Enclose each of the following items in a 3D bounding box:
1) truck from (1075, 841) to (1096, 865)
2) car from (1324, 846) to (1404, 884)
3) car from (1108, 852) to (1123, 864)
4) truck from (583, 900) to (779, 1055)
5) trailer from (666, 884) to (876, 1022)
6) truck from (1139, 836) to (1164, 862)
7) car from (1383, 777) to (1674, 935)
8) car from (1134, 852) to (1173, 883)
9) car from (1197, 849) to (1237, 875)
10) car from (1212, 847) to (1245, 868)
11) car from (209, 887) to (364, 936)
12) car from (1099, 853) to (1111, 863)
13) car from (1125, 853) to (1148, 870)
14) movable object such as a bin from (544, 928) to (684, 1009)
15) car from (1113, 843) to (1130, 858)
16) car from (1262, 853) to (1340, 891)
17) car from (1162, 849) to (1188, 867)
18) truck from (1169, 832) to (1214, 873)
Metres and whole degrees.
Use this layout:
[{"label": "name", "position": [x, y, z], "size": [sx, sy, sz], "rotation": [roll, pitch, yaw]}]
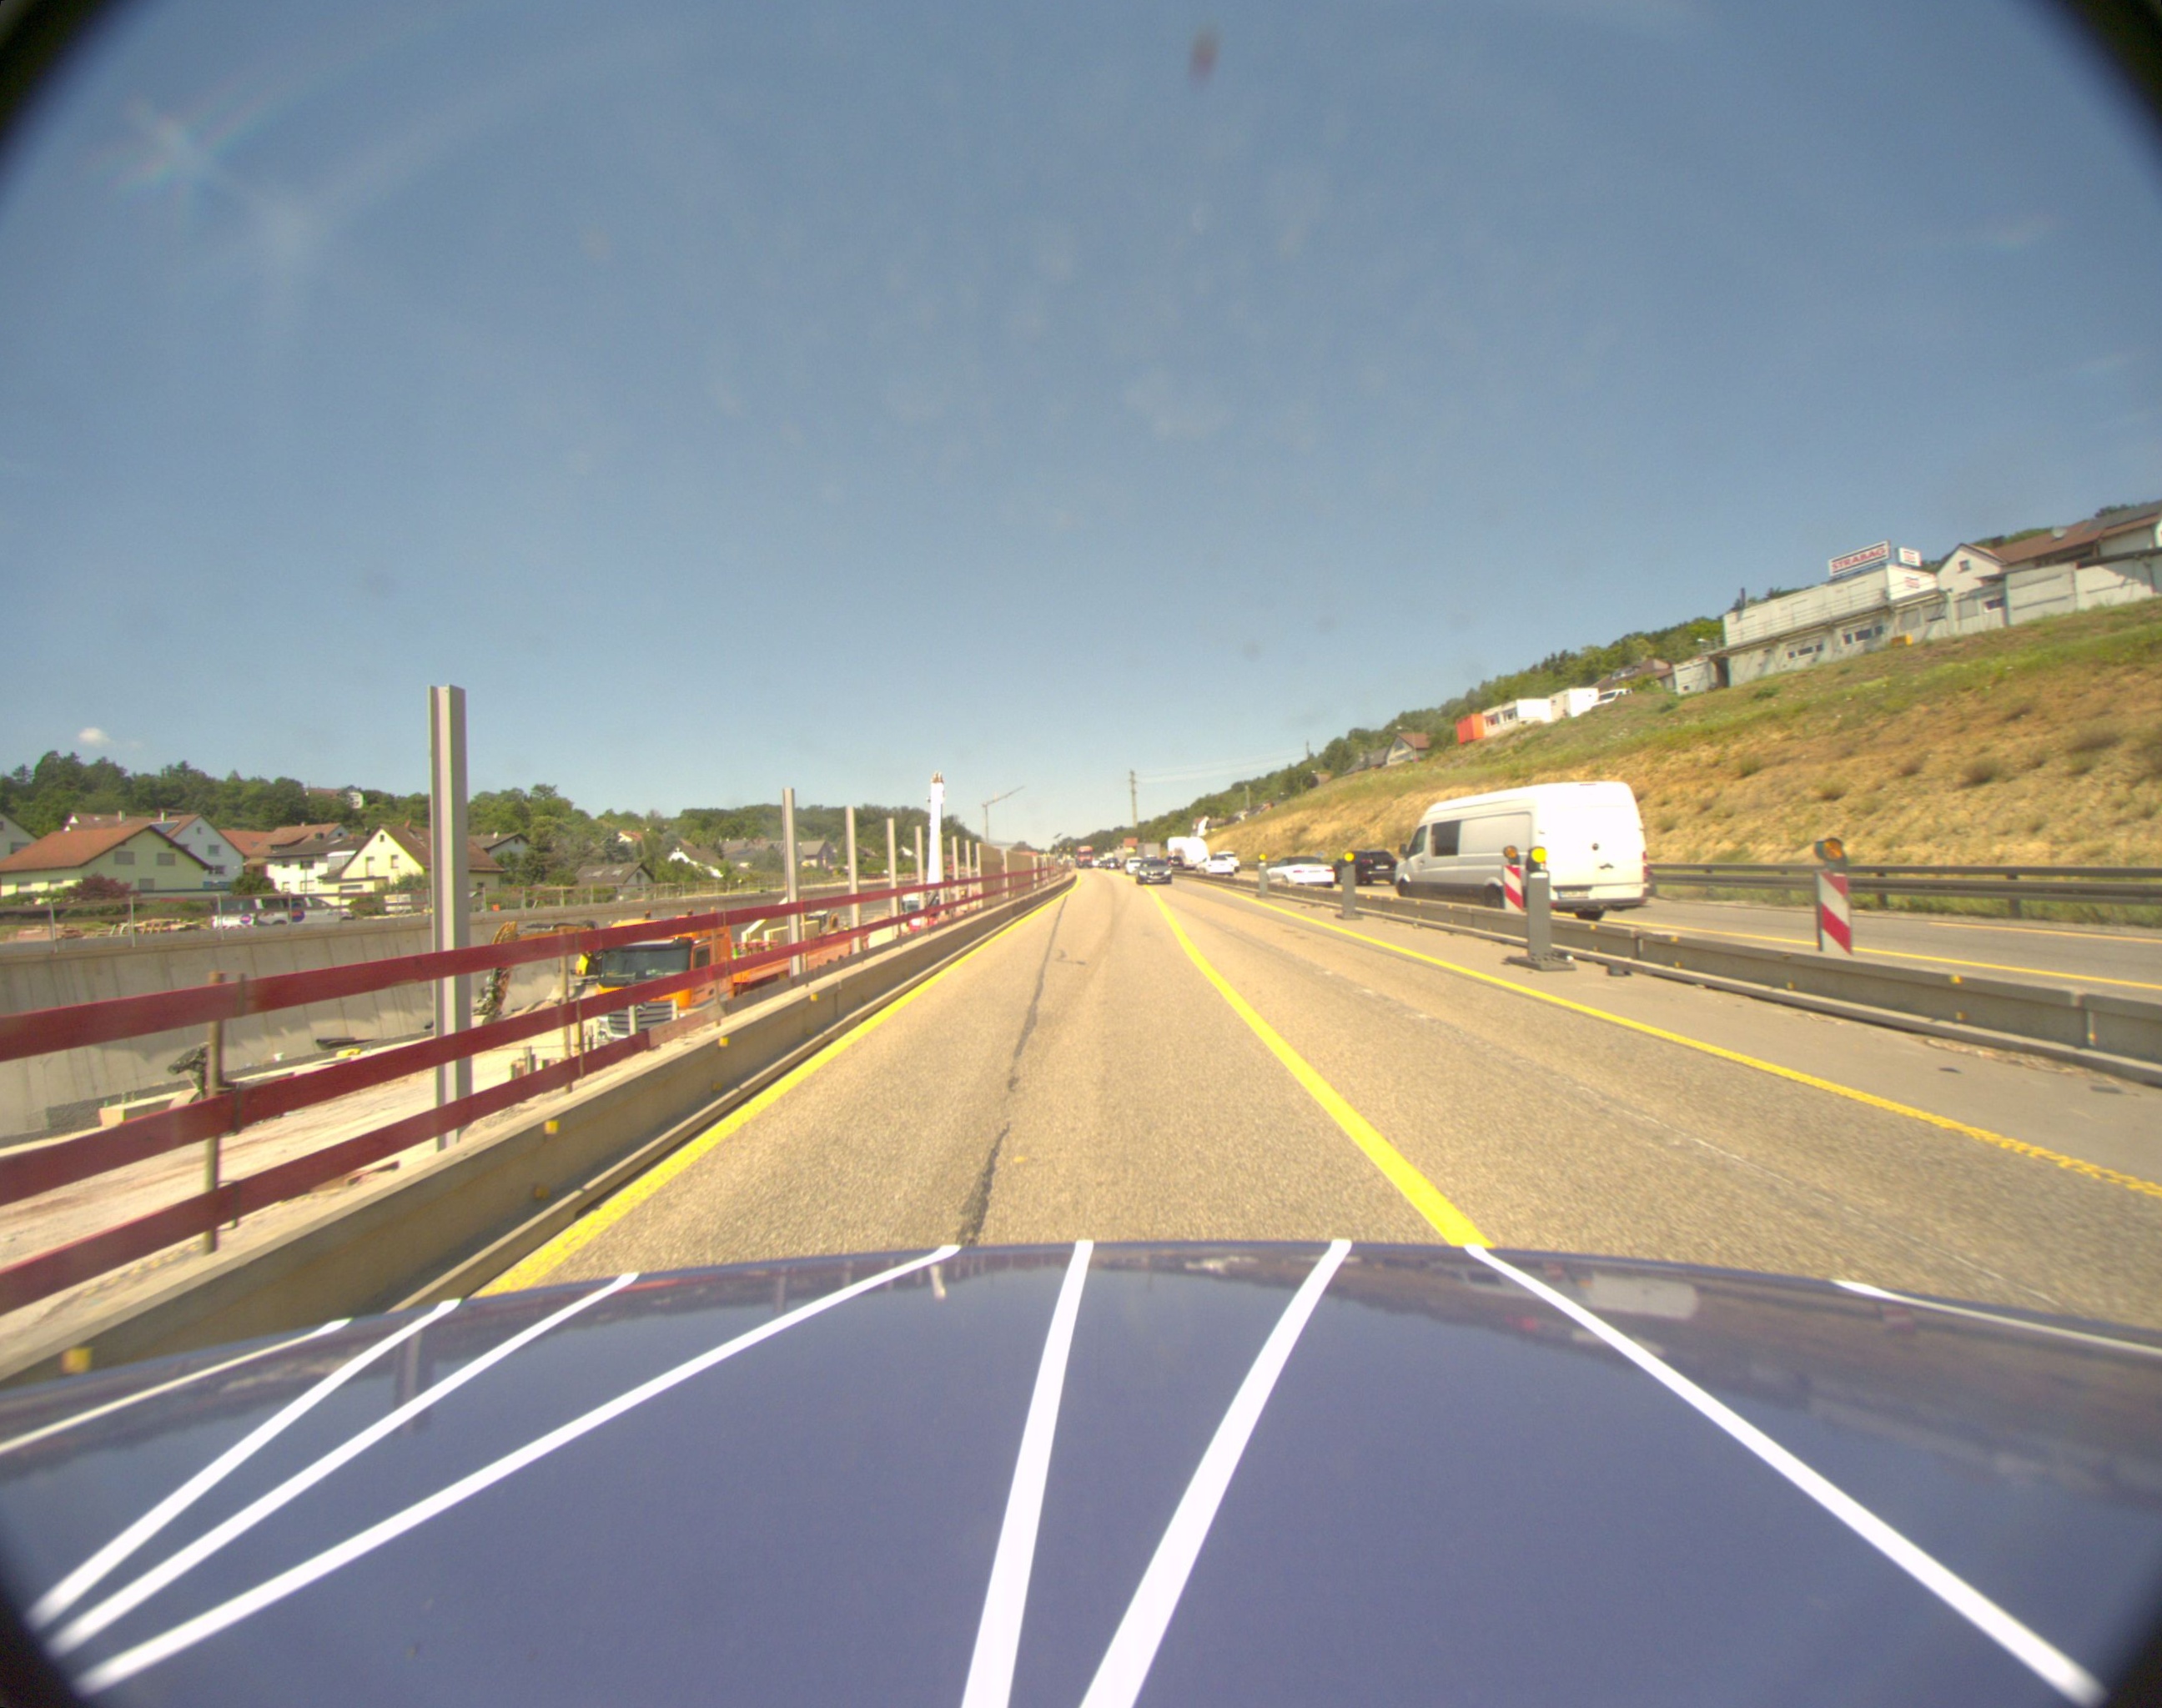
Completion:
[{"label": "truck", "position": [0.879, -0.258, 140.630], "size": [3.463, 4.023, 10.209], "rotation": [-2, 1, 1]}, {"label": "car", "position": [12.401, 0.448, 33.580], "size": [1.838, 1.482, 4.389], "rotation": [-2, 0, 0]}, {"label": "car", "position": [4.748, 0.589, 105.530], "size": [1.801, 1.542, 4.000], "rotation": [-2, -1, -2]}, {"label": "truck", "position": [-11.024, 3.237, 21.626], "size": [2.504, 3.385, 5.435], "rotation": [-2, 1, 1]}, {"label": "trailer", "position": [-10.935, 3.199, 28.991], "size": [2.446, 3.333, 12.893], "rotation": [-2, 1, 1]}, {"label": "truck", "position": [11.716, -0.891, 127.125], "size": [3.148, 4.023, 10.209], "rotation": [-2, 1, 1]}, {"label": "car", "position": [8.943, 0.032, 16.251], "size": [2.211, 2.614, 6.627], "rotation": [-2, 0, 0]}, {"label": "car", "position": [3.987, 0.715, 42.390], "size": [1.838, 1.587, 4.390], "rotation": [-2, 0, 2]}, {"label": "car", "position": [9.023, 0.524, 50.817], "size": [1.838, 1.626, 4.389], "rotation": [-2, 0, 0]}, {"label": "car", "position": [12.276, 0.265, 63.395], "size": [1.838, 1.626, 4.389], "rotation": [-2, 0, 0]}, {"label": "car", "position": [-33.334, 2.350, 32.122], "size": [1.658, 1.594, 4.605], "rotation": [-2, 1, 0]}, {"label": "car", "position": [4.076, 0.719, 129.204], "size": [1.801, 1.542, 4.000], "rotation": [-2, -1, -2]}, {"label": "car", "position": [5.050, 0.635, 69.274], "size": [1.838, 1.465, 4.390], "rotation": [-2, 0, 2]}, {"label": "movable object such as a bin", "position": [-19.804, 4.799, 32.500], "size": [3.267, 2.769, 4.001], "rotation": [-2, 1, 4]}, {"label": "car", "position": [7.993, -0.665, 152.010], "size": [2.926, 2.863, 6.696], "rotation": [-2, 0, 0]}, {"label": "car", "position": [8.899, 0.676, 31.080], "size": [1.838, 1.368, 4.389], "rotation": [-2, 0, 0]}, {"label": "car", "position": [8.973, 0.338, 72.695], "size": [1.838, 1.626, 4.389], "rotation": [-2, 0, 0]}, {"label": "truck", "position": [11.990, -0.208, 84.116], "size": [3.115, 4.023, 13.156], "rotation": [-2, 1, 1]}]
